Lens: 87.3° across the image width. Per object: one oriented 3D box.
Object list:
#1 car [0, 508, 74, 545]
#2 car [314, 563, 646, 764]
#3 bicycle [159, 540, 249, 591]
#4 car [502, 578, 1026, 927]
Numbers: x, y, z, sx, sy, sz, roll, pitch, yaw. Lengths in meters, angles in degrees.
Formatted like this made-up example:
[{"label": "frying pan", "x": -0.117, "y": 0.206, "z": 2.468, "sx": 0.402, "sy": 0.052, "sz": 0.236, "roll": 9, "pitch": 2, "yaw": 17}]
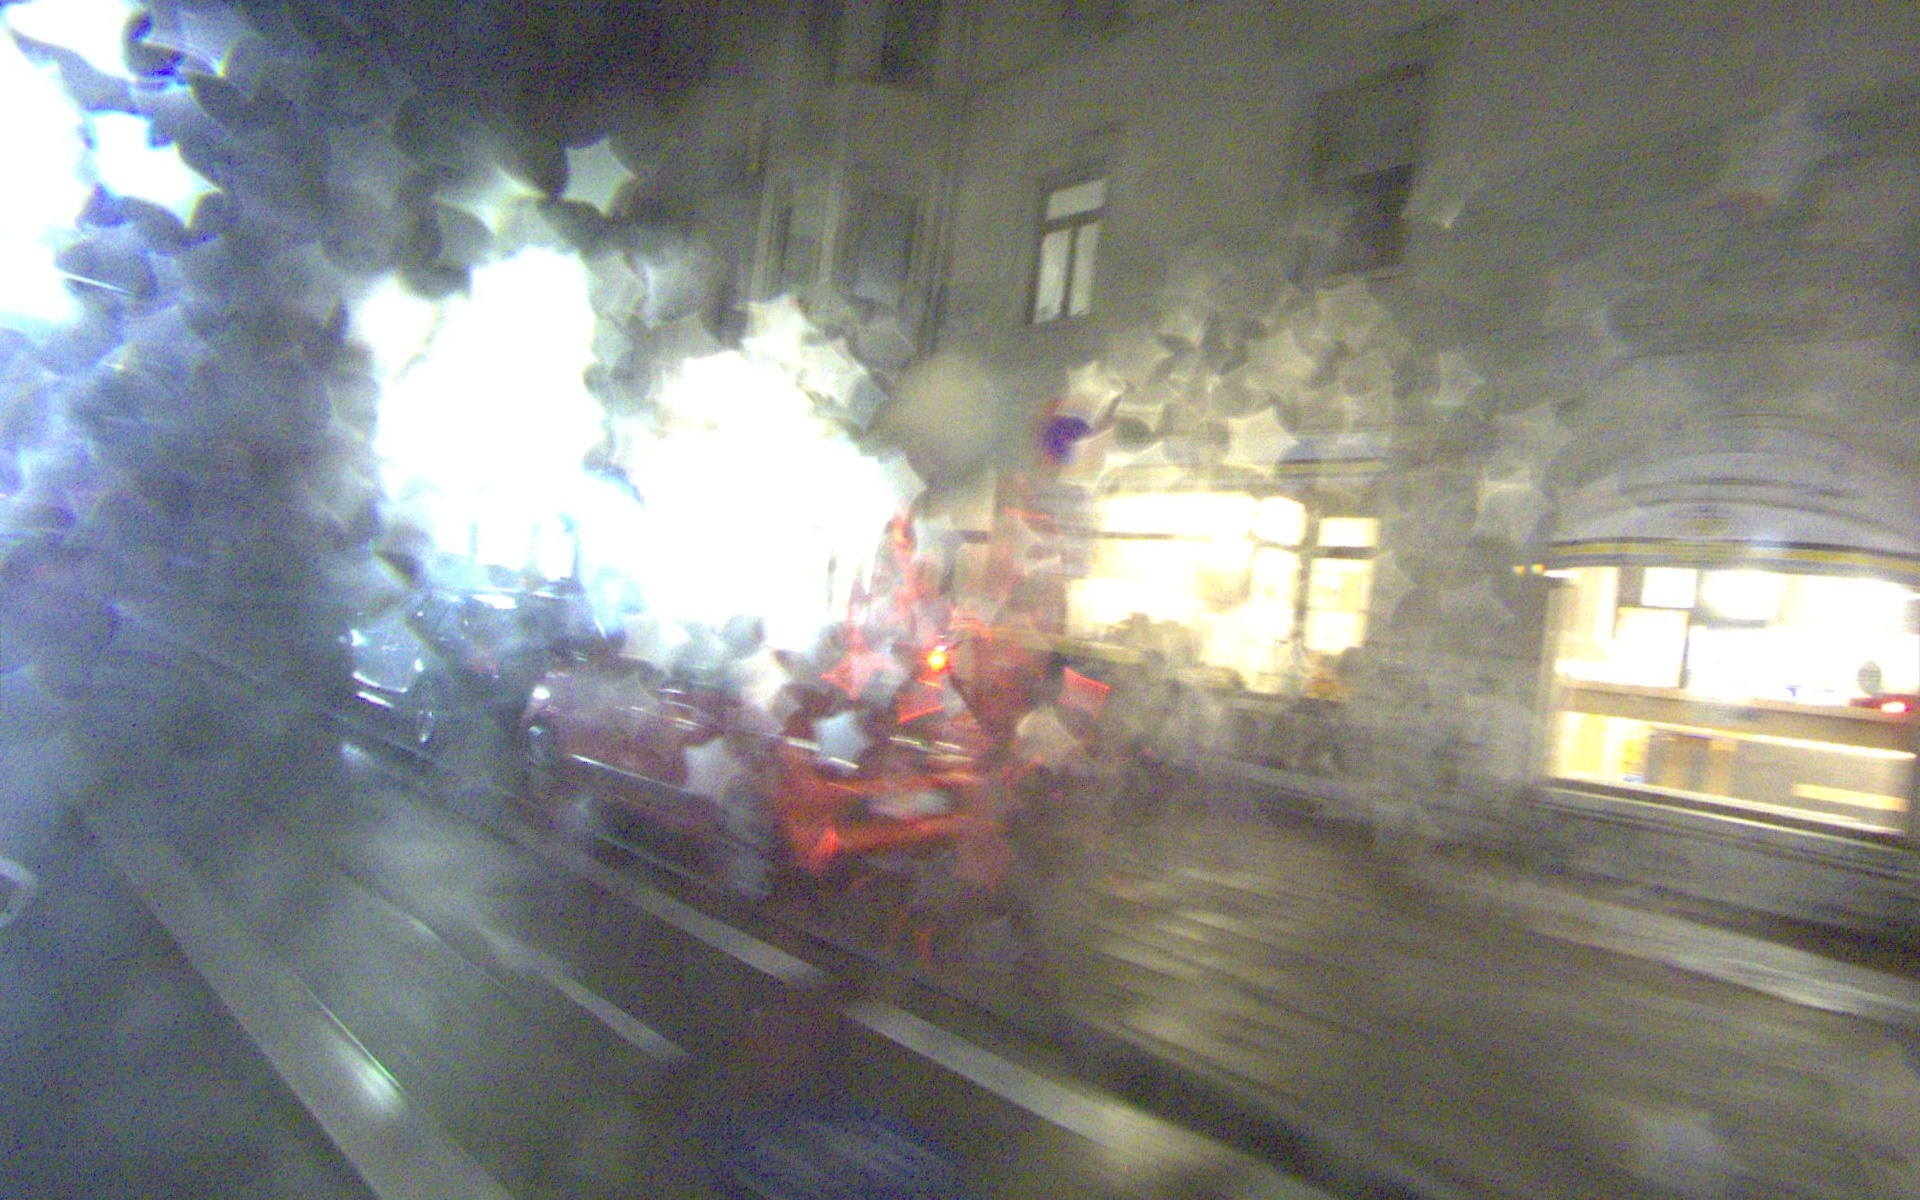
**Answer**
[{"label": "car", "x": -53.736, "y": -4.263, "z": 57.958, "sx": 1.737, "sy": 1.473, "sz": 3.797, "roll": 8, "pitch": -4, "yaw": 2}, {"label": "car", "x": -4.963, "y": 0.511, "z": 10.121, "sx": 4.002, "sy": 1.460, "sz": 1.640, "roll": 6, "pitch": 1, "yaw": 44}, {"label": "bicycle", "x": -20.292, "y": -0.918, "z": 27.034, "sx": 0.486, "sy": 1.178, "sz": 1.810, "roll": 5, "pitch": 0, "yaw": 42}, {"label": "car", "x": -1.489, "y": 0.768, "z": 6.770, "sx": 3.533, "sy": 1.545, "sz": 1.642, "roll": 6, "pitch": 1, "yaw": 44}]
